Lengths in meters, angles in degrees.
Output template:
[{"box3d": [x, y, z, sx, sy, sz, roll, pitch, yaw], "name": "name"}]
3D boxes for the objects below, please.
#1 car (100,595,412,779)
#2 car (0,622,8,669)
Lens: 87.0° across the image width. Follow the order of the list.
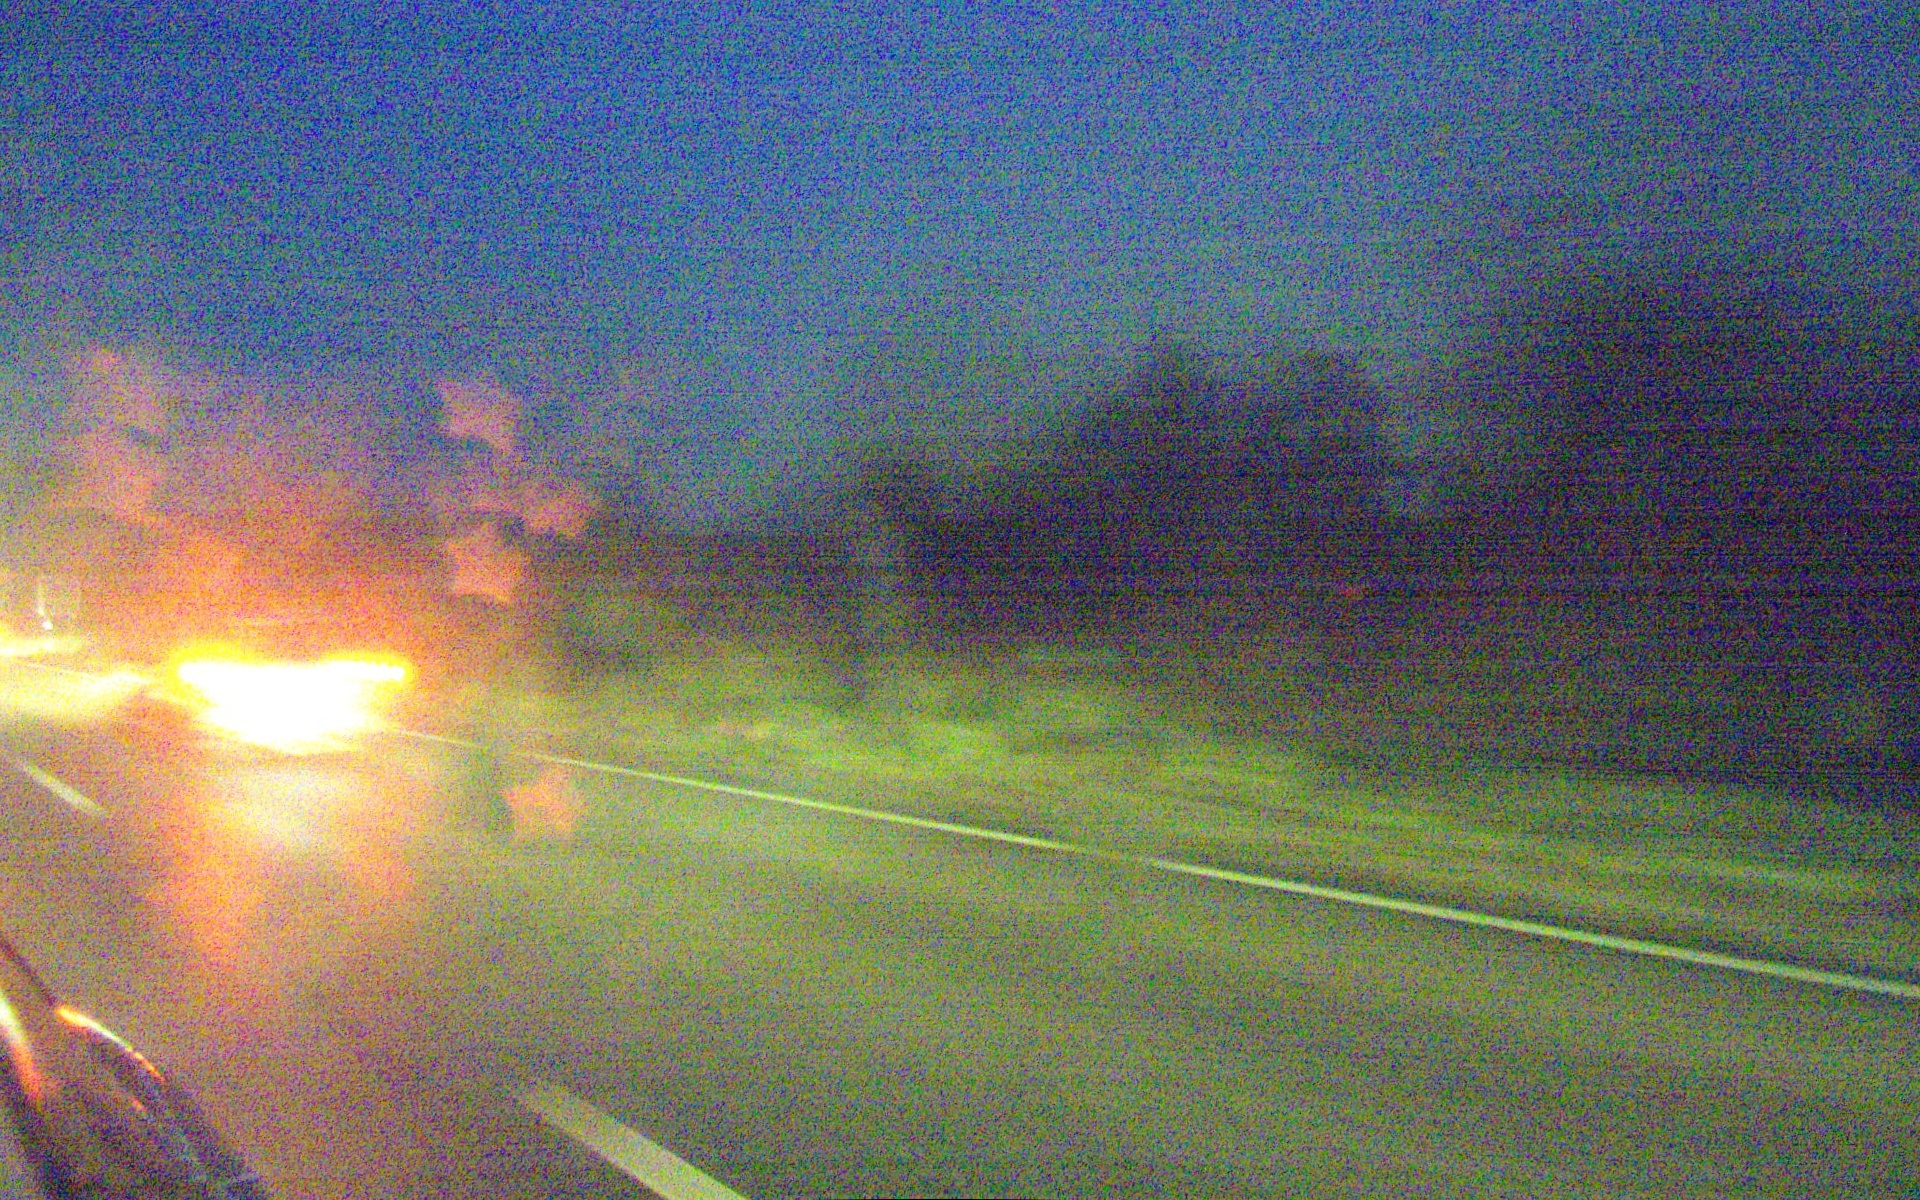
[{"box3d": [-7.979, 0.806, 11.343, 3.998, 1.674, 1.973, 0, 0, 41], "name": "car"}, {"box3d": [-36.417, 1.669, 37.012, 3.998, 1.674, 1.973, 0, 0, 41], "name": "car"}]
